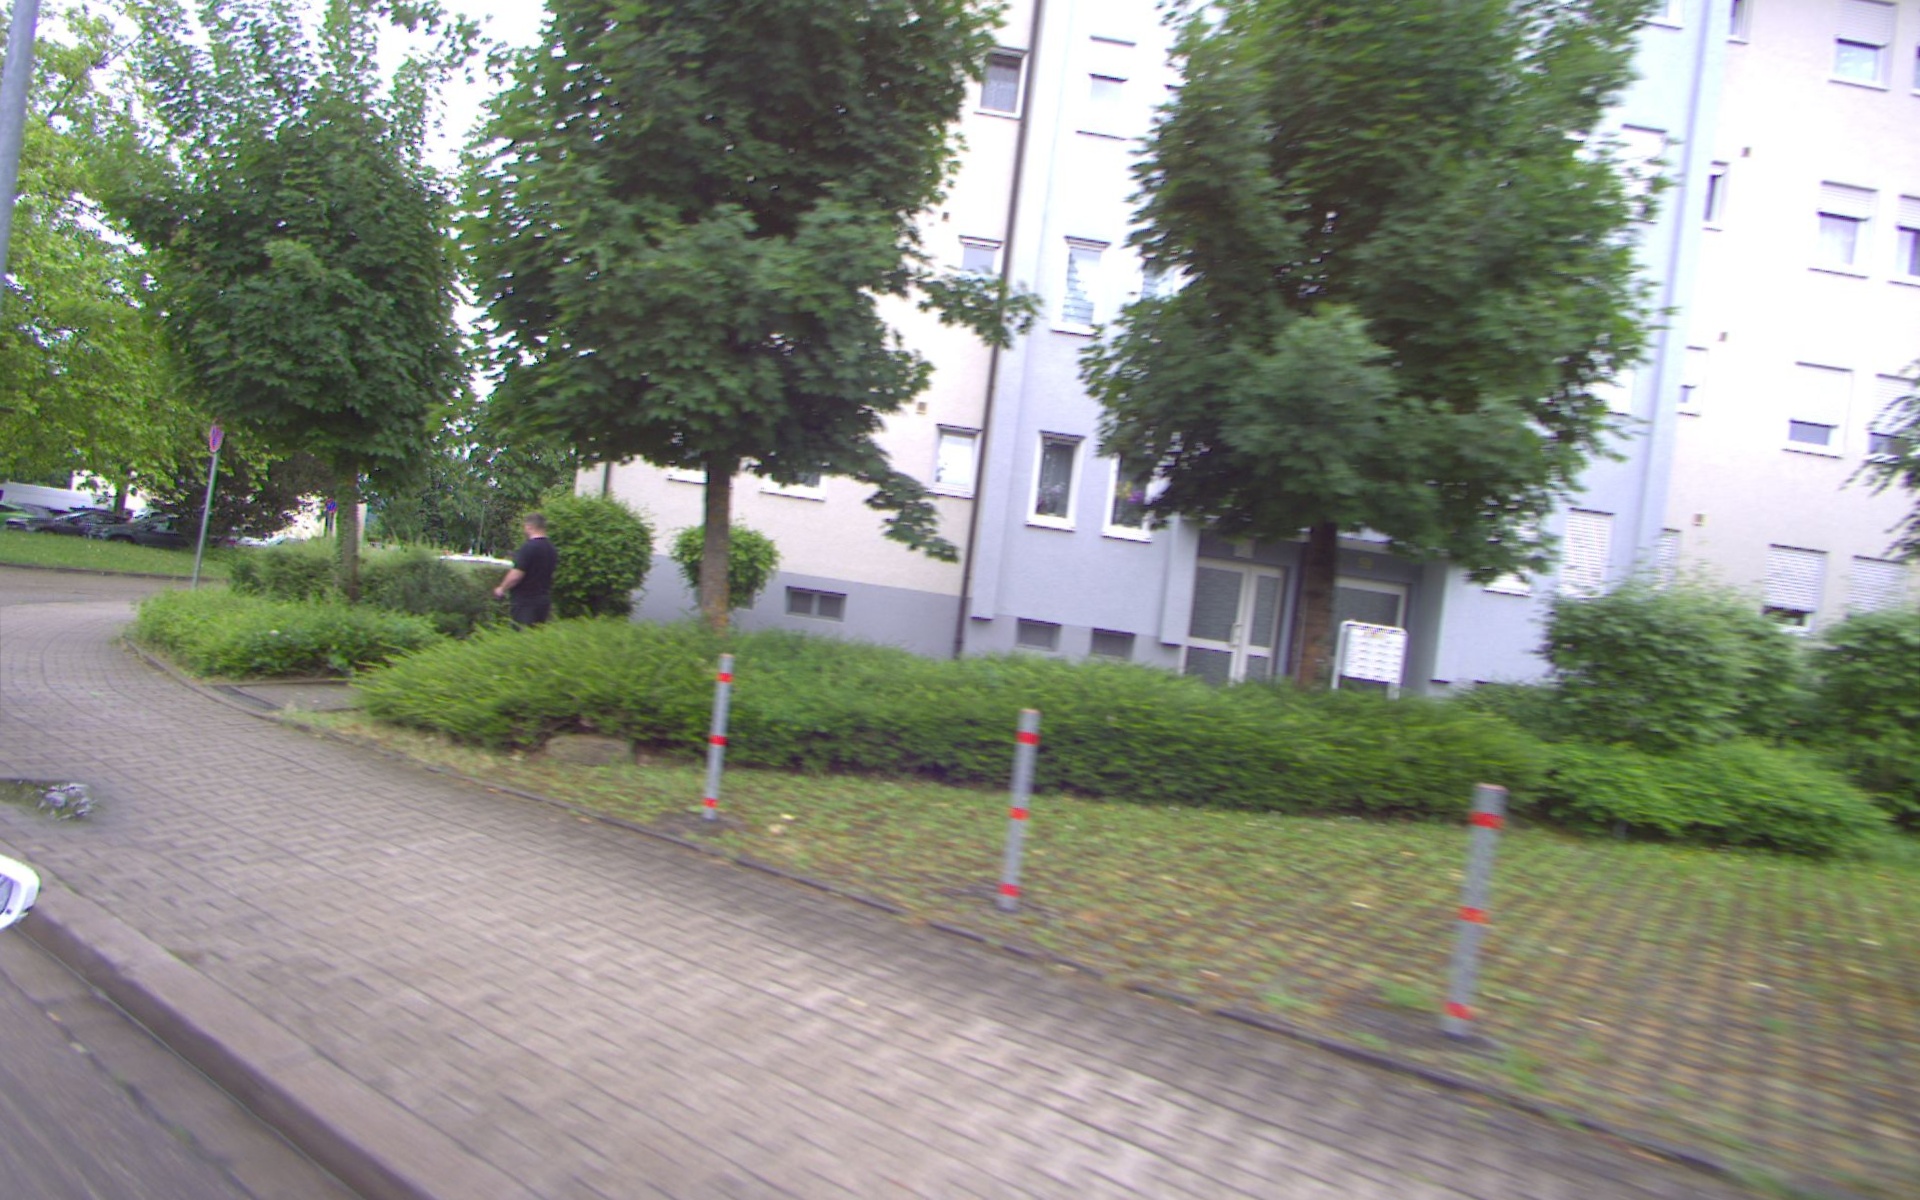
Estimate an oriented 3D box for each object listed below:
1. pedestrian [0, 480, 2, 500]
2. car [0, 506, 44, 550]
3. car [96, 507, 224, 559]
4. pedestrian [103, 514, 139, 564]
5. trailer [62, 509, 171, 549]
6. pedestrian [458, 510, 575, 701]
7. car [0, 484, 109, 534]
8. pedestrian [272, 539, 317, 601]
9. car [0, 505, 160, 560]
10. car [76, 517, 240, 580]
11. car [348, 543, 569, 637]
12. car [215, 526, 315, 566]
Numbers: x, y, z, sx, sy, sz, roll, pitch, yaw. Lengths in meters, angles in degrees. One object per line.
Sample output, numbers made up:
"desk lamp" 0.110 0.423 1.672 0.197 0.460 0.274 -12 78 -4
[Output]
"pedestrian" -10.027 -0.409 9.785 0.761 1.686 0.591 7 0 16
"car" -35.485 -2.757 35.672 1.733 1.460 4.018 6 0 27
"car" -41.751 -3.451 52.622 1.964 2.038 4.761 6 0 25
"pedestrian" -30.089 -2.169 36.083 0.578 1.672 0.738 7 0 35
"trailer" -44.118 -3.705 52.684 1.684 1.454 3.991 6 -1 33
"pedestrian" -4.425 0.063 10.056 0.659 1.794 0.615 7 0 27
"car" -49.245 -4.911 53.450 1.963 2.038 5.837 6 0 22
"pedestrian" -18.215 -0.820 27.553 0.729 1.602 0.944 7 -1 -25
"car" -31.472 -2.392 36.027 1.733 1.388 4.018 6 0 27
"car" -28.523 -1.815 35.869 1.740 1.647 4.272 7 0 42
"car" -10.566 -0.198 21.407 3.701 1.499 1.745 7 0 -5
"car" -37.719 -2.908 54.713 1.962 1.548 4.003 7 -1 15
